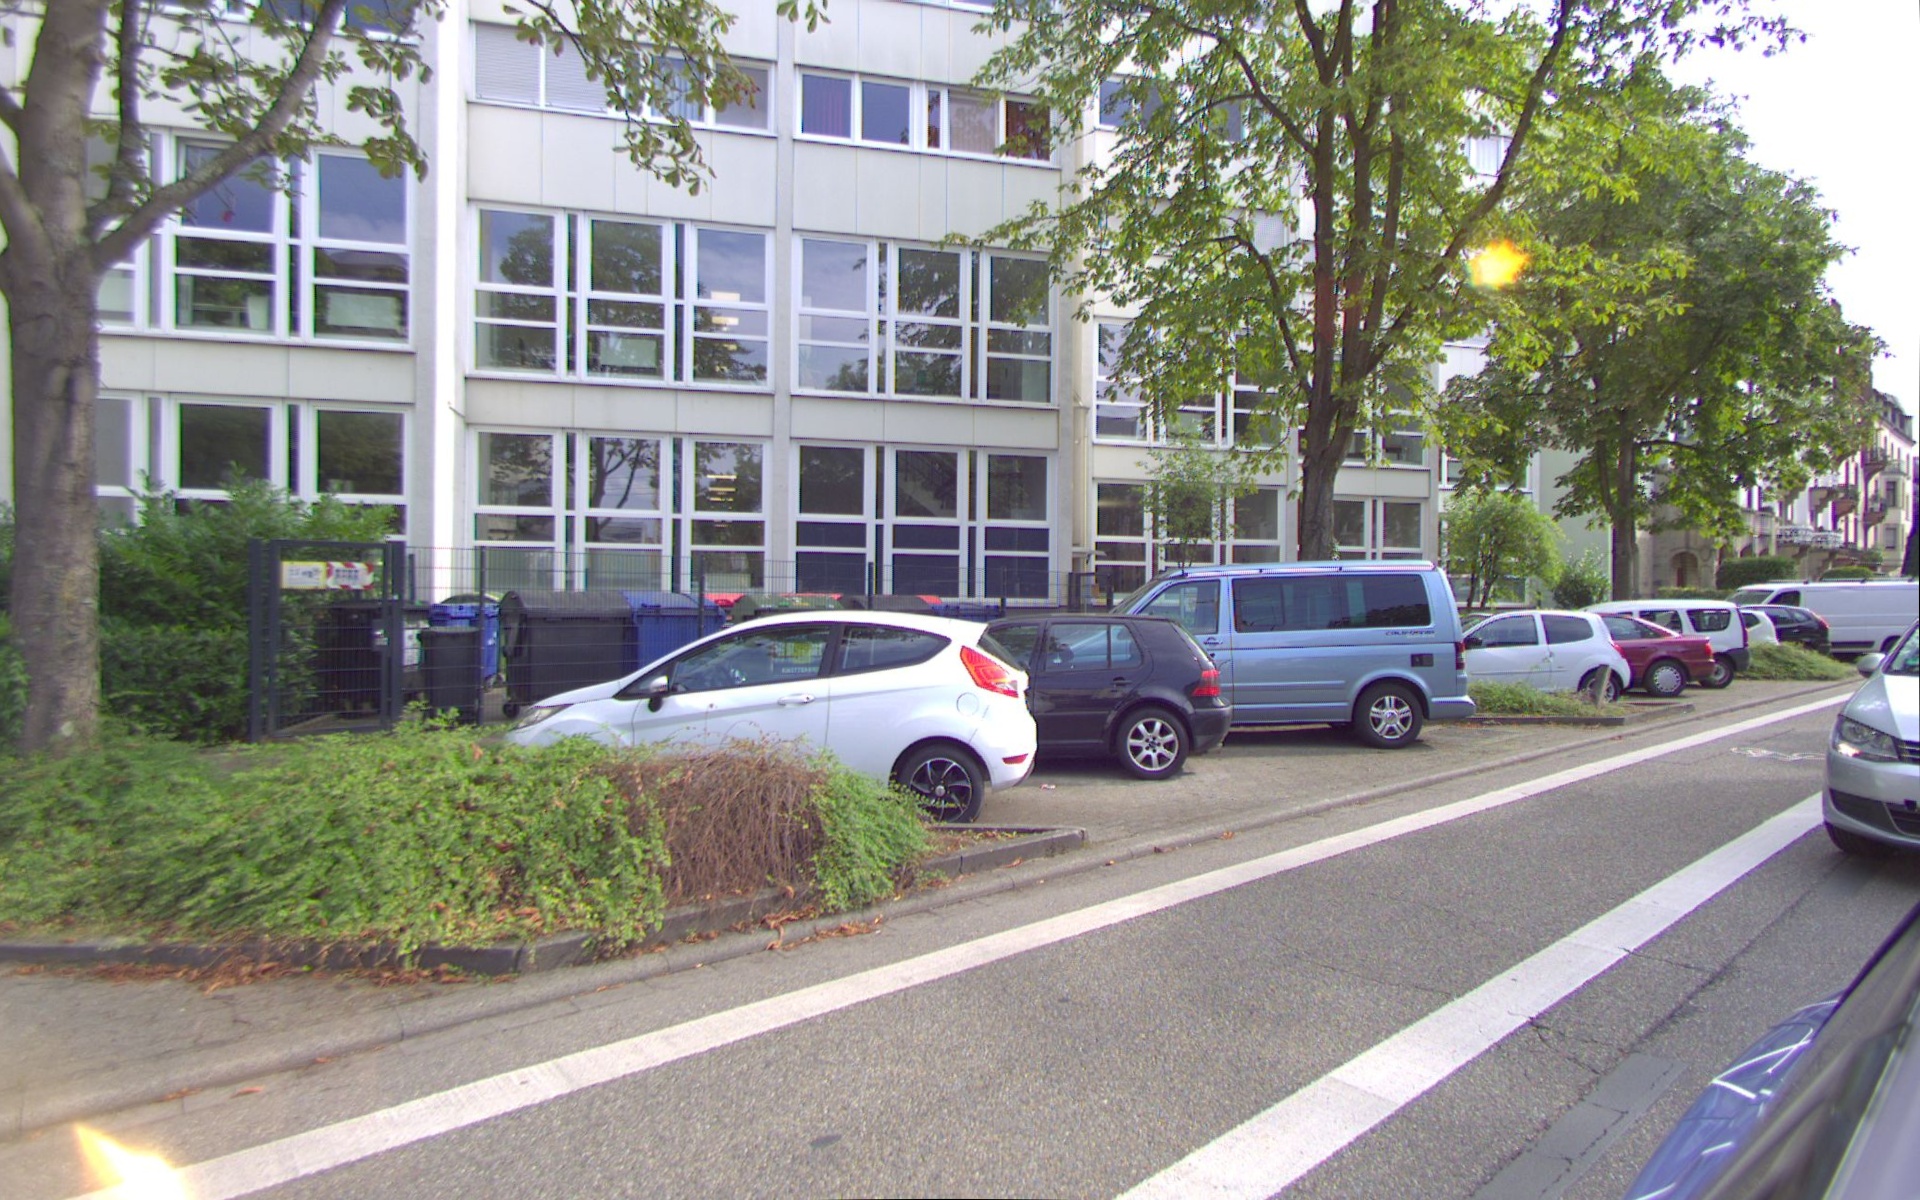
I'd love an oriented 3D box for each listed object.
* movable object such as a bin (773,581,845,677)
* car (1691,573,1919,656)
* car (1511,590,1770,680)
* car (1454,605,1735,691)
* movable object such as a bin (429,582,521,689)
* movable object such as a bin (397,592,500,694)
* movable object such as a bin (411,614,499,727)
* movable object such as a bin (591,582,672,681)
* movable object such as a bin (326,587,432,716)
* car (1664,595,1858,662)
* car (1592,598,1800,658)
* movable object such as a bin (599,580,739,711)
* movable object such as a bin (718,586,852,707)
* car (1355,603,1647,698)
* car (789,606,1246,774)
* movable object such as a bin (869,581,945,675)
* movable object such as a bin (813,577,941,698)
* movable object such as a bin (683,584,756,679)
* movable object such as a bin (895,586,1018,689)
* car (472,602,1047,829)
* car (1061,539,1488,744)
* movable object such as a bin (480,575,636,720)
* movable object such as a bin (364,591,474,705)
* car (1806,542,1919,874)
[{"bbox_3d":[-2.617,0.481,17.457,1.150,1.588,1.182,0,0,-12],"label":"movable object such as a bin"},{"bbox_3d":[23.957,0.379,28.248,5.349,2.203,2.143,0,0,9],"label":"car"},{"bbox_3d":[13.025,0.621,19.587,3.708,1.638,1.810,0,0,9],"label":"car"},{"bbox_3d":[10.906,0.793,17.650,3.708,1.355,1.810,0,1,9],"label":"car"},{"bbox_3d":[-7.551,0.525,15.825,1.155,1.588,1.177,0,0,-19],"label":"movable object such as a bin"},{"bbox_3d":[-7.279,0.583,14.474,1.155,1.387,1.177,0,0,-19],"label":"movable object such as a bin"},{"bbox_3d":[-5.362,0.717,10.733,0.729,1.119,0.786,0,0,-34],"label":"movable object such as a bin"},{"bbox_3d":[-5.468,0.504,16.920,1.150,1.588,1.182,0,0,-12],"label":"movable object such as a bin"},{"bbox_3d":[-6.767,0.567,11.848,0.893,1.425,1.026,0,0,-19],"label":"movable object such as a bin"},{"bbox_3d":[20.758,0.695,26.417,3.605,1.609,1.753,0,1,24],"label":"car"},{"bbox_3d":[17.411,0.639,24.085,3.580,1.347,1.766,0,0,5],"label":"car"},{"bbox_3d":[-3.673,0.525,12.745,1.312,1.523,1.335,0,0,-36],"label":"movable object such as a bin"},{"bbox_3d":[-2.365,0.579,13.623,1.328,1.521,1.335,0,0,-36],"label":"movable object such as a bin"},{"bbox_3d":[8.268,0.734,15.750,3.580,1.347,1.766,0,0,5],"label":"car"},{"bbox_3d":[0.517,0.777,9.565,3.902,1.405,1.812,0,-1,5],"label":"car"},{"bbox_3d":[-0.947,0.467,17.758,1.150,1.588,1.182,0,0,-12],"label":"movable object such as a bin"},{"bbox_3d":[-1.192,0.497,14.478,1.328,1.616,1.335,0,0,-36],"label":"movable object such as a bin"},{"bbox_3d":[-4.035,0.508,17.062,1.150,1.533,1.182,0,0,-12],"label":"movable object such as a bin"},{"bbox_3d":[-0.059,0.533,15.506,1.374,1.477,1.335,0,0,-36],"label":"movable object such as a bin"},{"bbox_3d":[-1.292,0.735,7.389,3.792,1.410,1.632,0,0,4],"label":"car"},{"bbox_3d":[3.326,0.406,11.501,4.268,2.090,1.998,0,0,5],"label":"car"},{"bbox_3d":[-4.665,0.501,11.719,1.389,1.549,1.330,0,0,-36],"label":"movable object such as a bin"},{"bbox_3d":[-7.002,0.589,13.163,1.095,1.409,1.065,0,0,-19],"label":"movable object such as a bin"},{"bbox_3d":[7.115,0.567,6.117,4.527,1.722,1.819,0,0,-33],"label":"car"}]
